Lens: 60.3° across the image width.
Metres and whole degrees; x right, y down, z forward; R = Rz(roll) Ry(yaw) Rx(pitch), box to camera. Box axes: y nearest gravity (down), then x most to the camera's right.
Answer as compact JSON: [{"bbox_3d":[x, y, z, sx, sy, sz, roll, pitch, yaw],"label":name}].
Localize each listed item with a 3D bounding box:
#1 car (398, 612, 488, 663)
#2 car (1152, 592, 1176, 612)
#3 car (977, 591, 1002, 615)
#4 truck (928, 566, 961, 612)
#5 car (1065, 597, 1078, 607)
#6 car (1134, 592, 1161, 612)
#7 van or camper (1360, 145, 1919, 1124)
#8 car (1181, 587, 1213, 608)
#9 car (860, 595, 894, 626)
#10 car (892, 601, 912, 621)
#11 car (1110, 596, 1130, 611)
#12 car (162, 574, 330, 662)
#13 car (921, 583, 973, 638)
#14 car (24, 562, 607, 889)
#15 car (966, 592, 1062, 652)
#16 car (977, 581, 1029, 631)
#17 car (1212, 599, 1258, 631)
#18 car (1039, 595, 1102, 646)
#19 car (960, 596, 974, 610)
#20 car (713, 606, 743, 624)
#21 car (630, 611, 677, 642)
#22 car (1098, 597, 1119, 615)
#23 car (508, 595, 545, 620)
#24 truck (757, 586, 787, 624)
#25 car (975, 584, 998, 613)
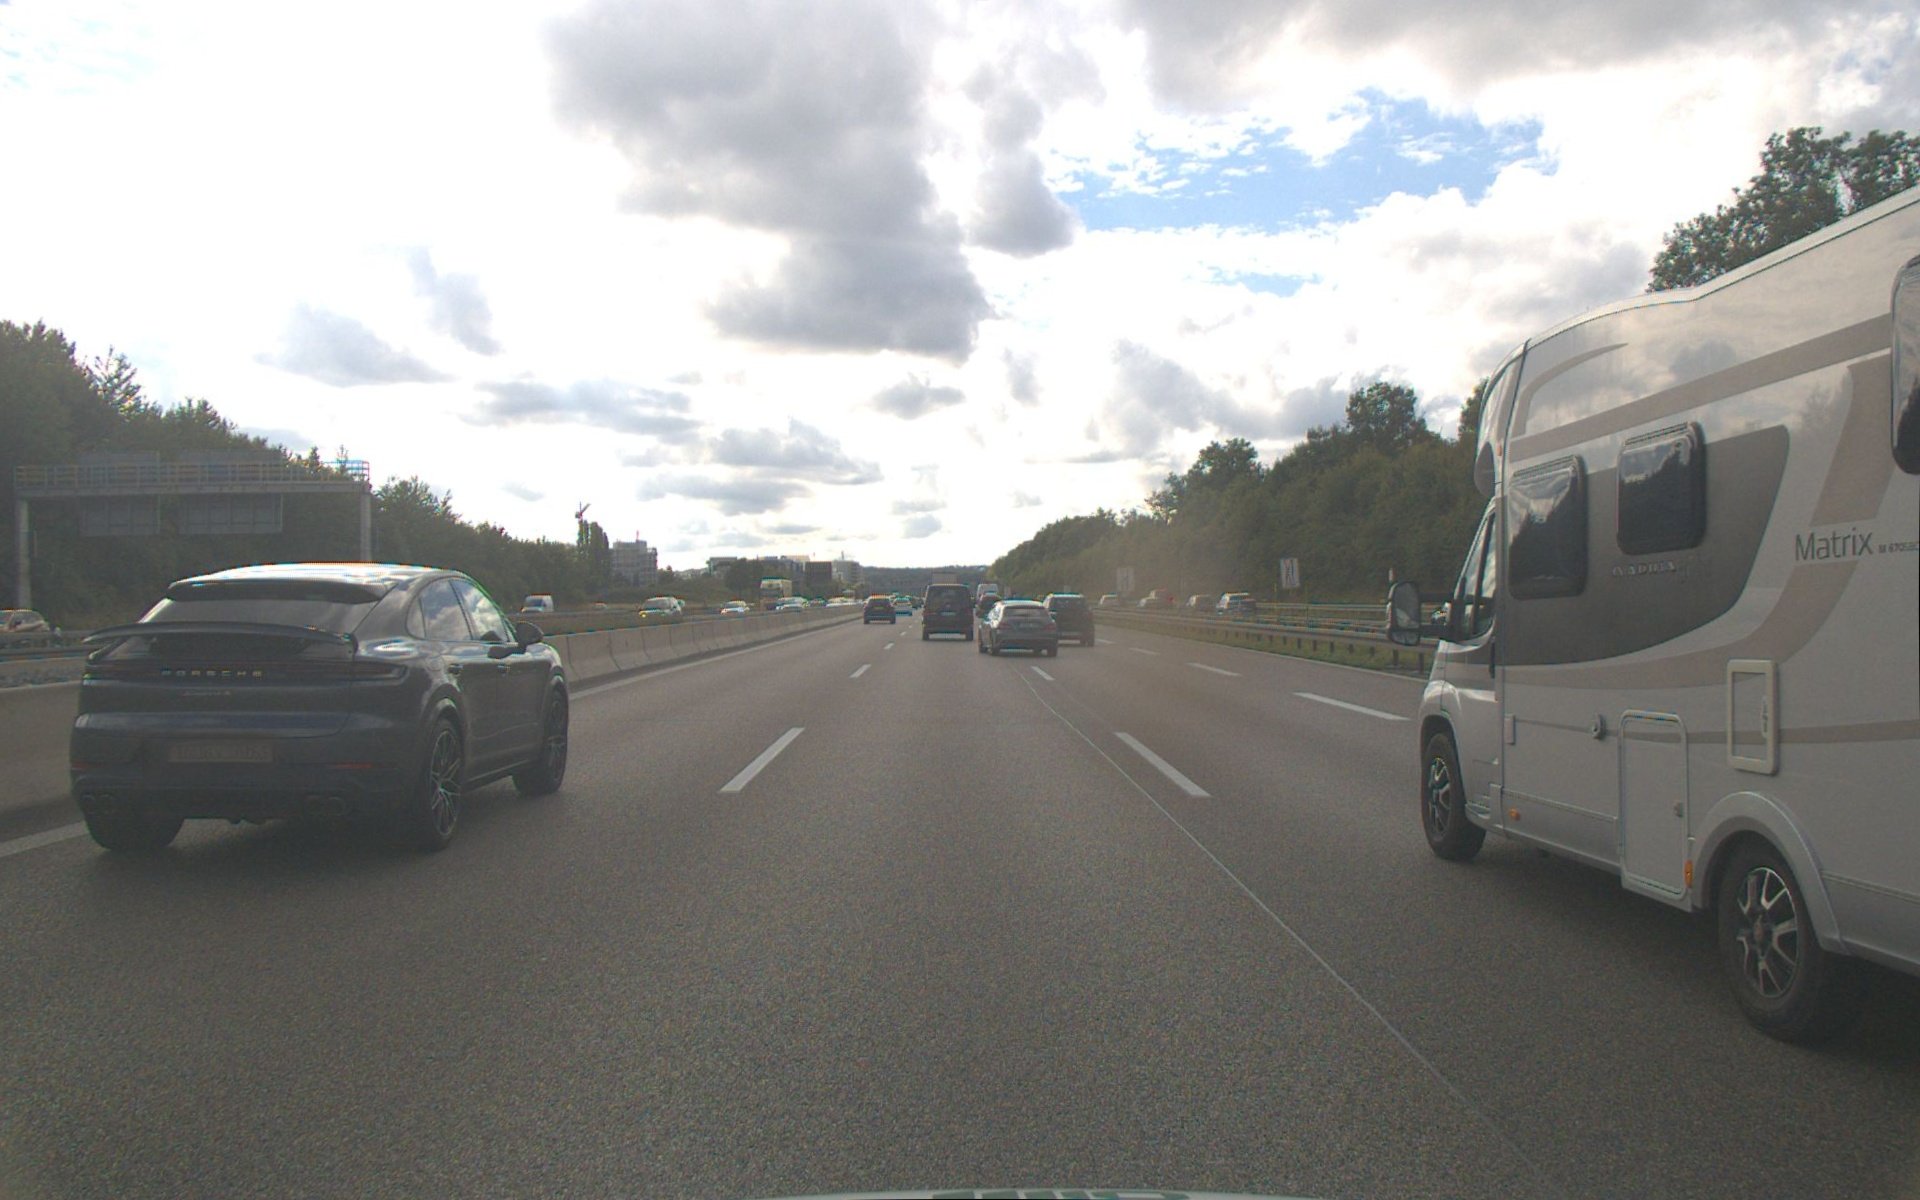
[{"bbox_3d":[-16.599,1.172,53.302,1.702,1.537,4.050,-1,0,-1],"label":"car"},{"bbox_3d":[19.095,0.164,154.903,1.563,1.835,3.823,0,0,-2],"label":"car"},{"bbox_3d":[2.390,0.220,134.263,1.874,1.952,4.029,0,0,-1],"label":"car"},{"bbox_3d":[-1.575,-1.071,165.596,3.196,4.451,11.024,1,0,-1],"label":"truck"},{"bbox_3d":[17.250,0.265,255.764,1.717,1.543,4.189,0,0,-2],"label":"car"},{"bbox_3d":[14.977,0.162,132.228,1.563,1.573,4.188,0,0,-2],"label":"car"},{"bbox_3d":[3.888,0.095,6.986,2.418,2.769,7.660,0,0,-1],"label":"van or camper"},{"bbox_3d":[18.834,-0.188,131.599,1.694,1.573,4.304,-2,0,-2],"label":"car"},{"bbox_3d":[-4.818,0.606,96.925,1.835,1.728,4.071,0,0,-1],"label":"car"},{"bbox_3d":[-4.822,0.876,138.370,1.663,1.639,4.112,0,0,-2],"label":"car"},{"bbox_3d":[18.159,0.394,187.958,1.716,1.725,4.189,0,0,-1],"label":"car"},{"bbox_3d":[-20.229,0.469,47.251,2.120,2.311,6.459,-1,0,-1],"label":"car"},{"bbox_3d":[-0.481,0.357,59.917,1.817,1.944,4.259,0,0,-1],"label":"car"},{"bbox_3d":[-3.885,0.632,11.221,1.873,1.664,5.499,0,0,-1],"label":"car"},{"bbox_3d":[1.383,0.549,44.233,1.689,1.505,4.380,0,0,-10],"label":"car"},{"bbox_3d":[1.524,0.191,60.150,1.686,1.754,4.390,0,0,-1],"label":"car"},{"bbox_3d":[15.977,0.852,96.244,1.809,1.679,4.305,-2,0,-1],"label":"car"},{"bbox_3d":[3.574,0.633,54.104,1.663,1.592,4.112,0,0,-2],"label":"car"},{"bbox_3d":[0.880,0.388,219.474,1.716,1.725,4.189,0,0,-1],"label":"car"},{"bbox_3d":[-17.377,1.117,124.079,1.735,1.317,4.674,0,0,-1],"label":"car"},{"bbox_3d":[-16.344,1.391,88.353,1.738,1.588,4.780,-1,0,-1],"label":"car"},{"bbox_3d":[14.793,0.597,164.878,1.716,1.725,4.189,0,0,-1],"label":"car"},{"bbox_3d":[-41.989,0.698,160.450,1.952,2.273,5.890,-1,0,0],"label":"car"},{"bbox_3d":[-22.299,0.555,196.370,2.837,4.399,5.161,-1,0,-1],"label":"truck"},{"bbox_3d":[2.218,-0.109,141.157,1.835,2.399,4.281,0,0,-1],"label":"car"}]
